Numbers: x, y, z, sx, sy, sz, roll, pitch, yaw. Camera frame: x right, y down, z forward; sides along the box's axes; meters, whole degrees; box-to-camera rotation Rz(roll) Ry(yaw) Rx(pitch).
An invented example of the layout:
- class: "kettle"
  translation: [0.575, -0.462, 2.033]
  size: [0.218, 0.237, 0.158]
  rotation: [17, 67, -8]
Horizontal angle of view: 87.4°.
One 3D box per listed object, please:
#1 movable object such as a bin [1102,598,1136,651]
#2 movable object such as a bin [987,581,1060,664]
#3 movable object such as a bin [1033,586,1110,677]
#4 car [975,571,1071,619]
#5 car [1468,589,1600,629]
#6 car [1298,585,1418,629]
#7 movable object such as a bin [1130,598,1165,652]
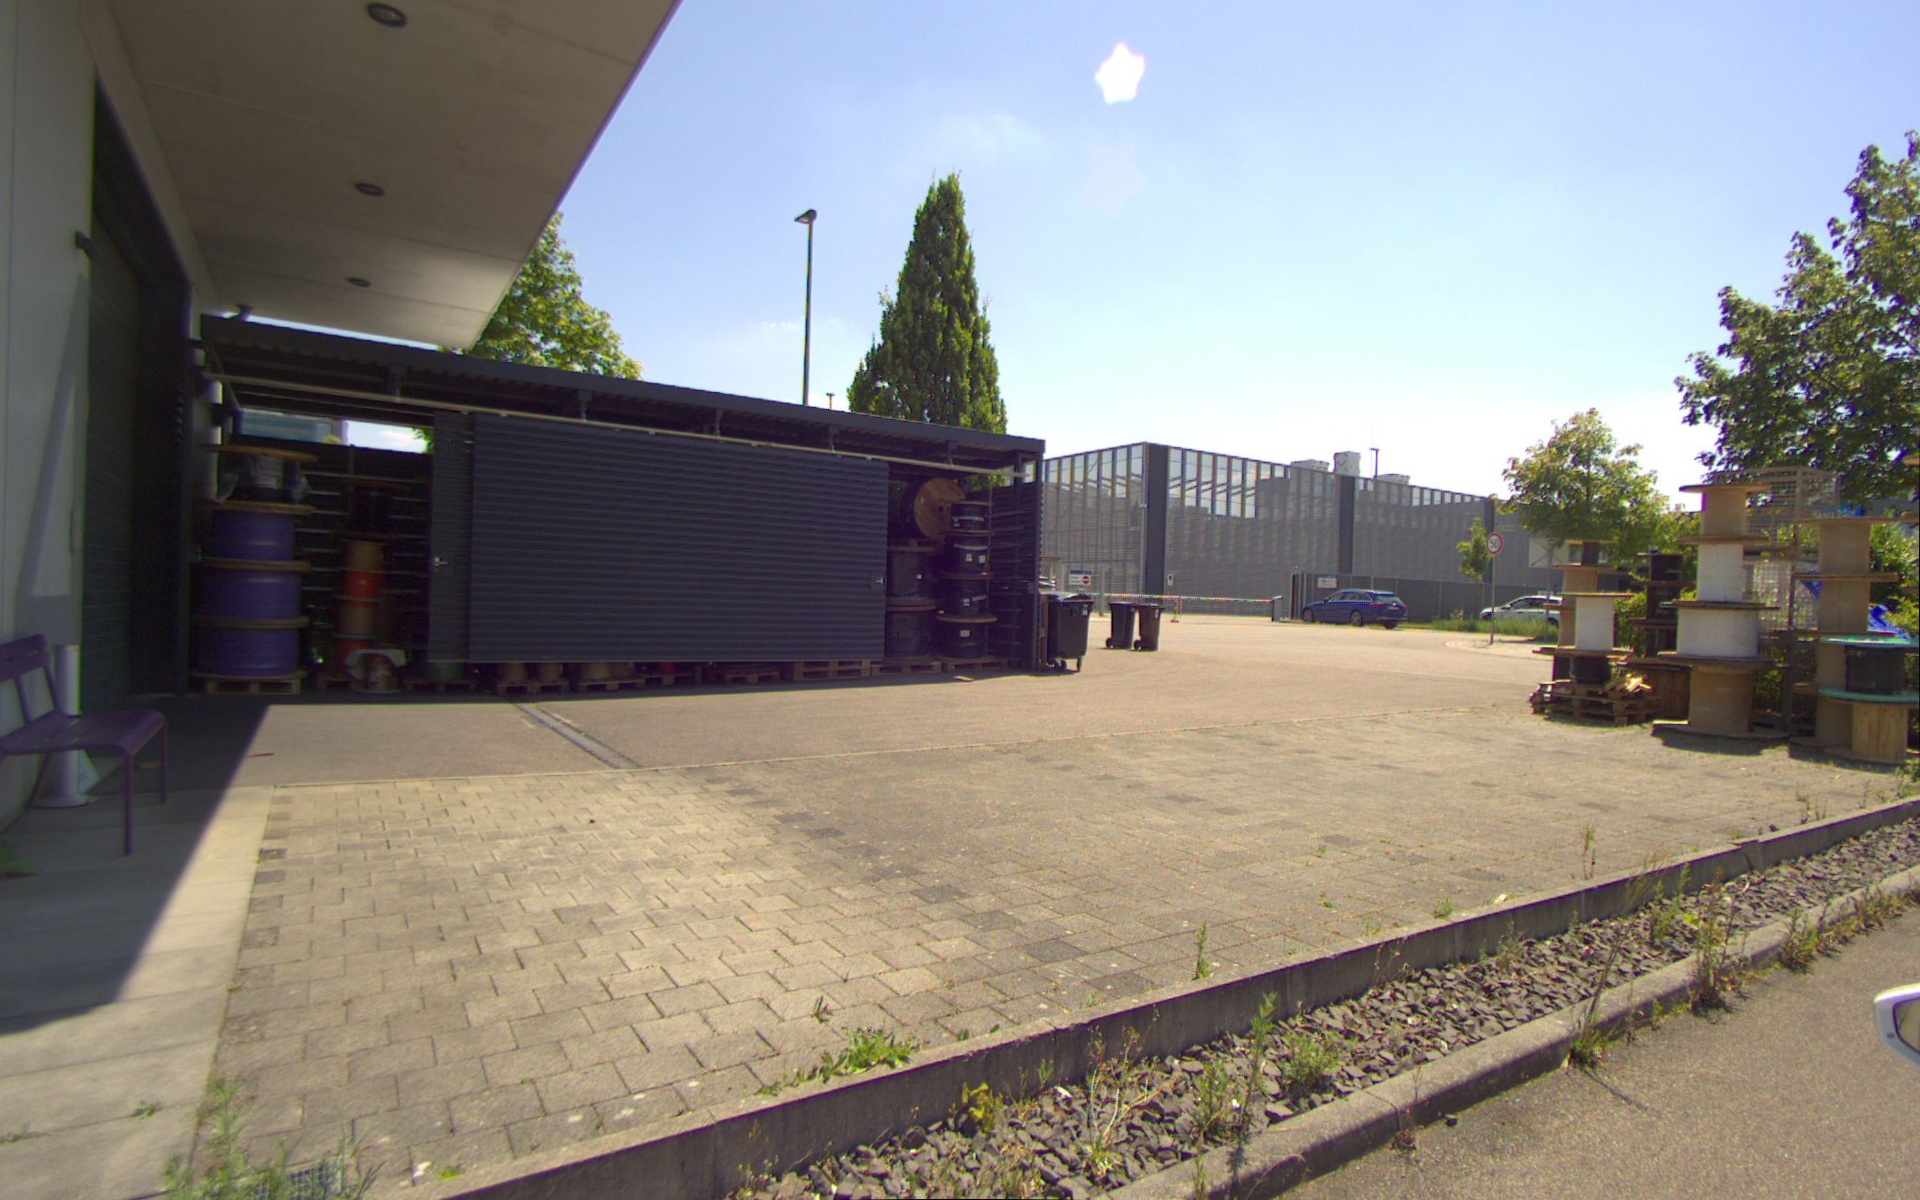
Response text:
- class: "movable object such as a bin"
  translation: [3.229, 0.488, 20.399]
  size: [0.571, 1.041, 0.425]
  rotation: [2, 1, 24]
- class: "movable object such as a bin"
  translation: [1.067, 0.371, 16.923]
  size: [0.961, 1.347, 0.704]
  rotation: [1, 1, -28]
- class: "movable object such as a bin"
  translation: [1.741, 0.486, 15.712]
  size: [0.873, 1.363, 0.807]
  rotation: [1, 1, -28]
- class: "car"
  translation: [2.168, -0.220, 35.859]
  size: [1.969, 1.511, 3.982]
  rotation: [3, 1, -19]
- class: "car"
  translation: [24.634, 0.347, 43.369]
  size: [1.969, 1.512, 4.833]
  rotation: [1, 2, -19]
- class: "car"
  translation: [15.652, 0.236, 39.805]
  size: [1.969, 1.512, 4.494]
  rotation: [1, 2, -19]
- class: "movable object such as a bin"
  translation: [3.762, 0.494, 20.156]
  size: [0.567, 1.050, 0.425]
  rotation: [2, 1, 24]
